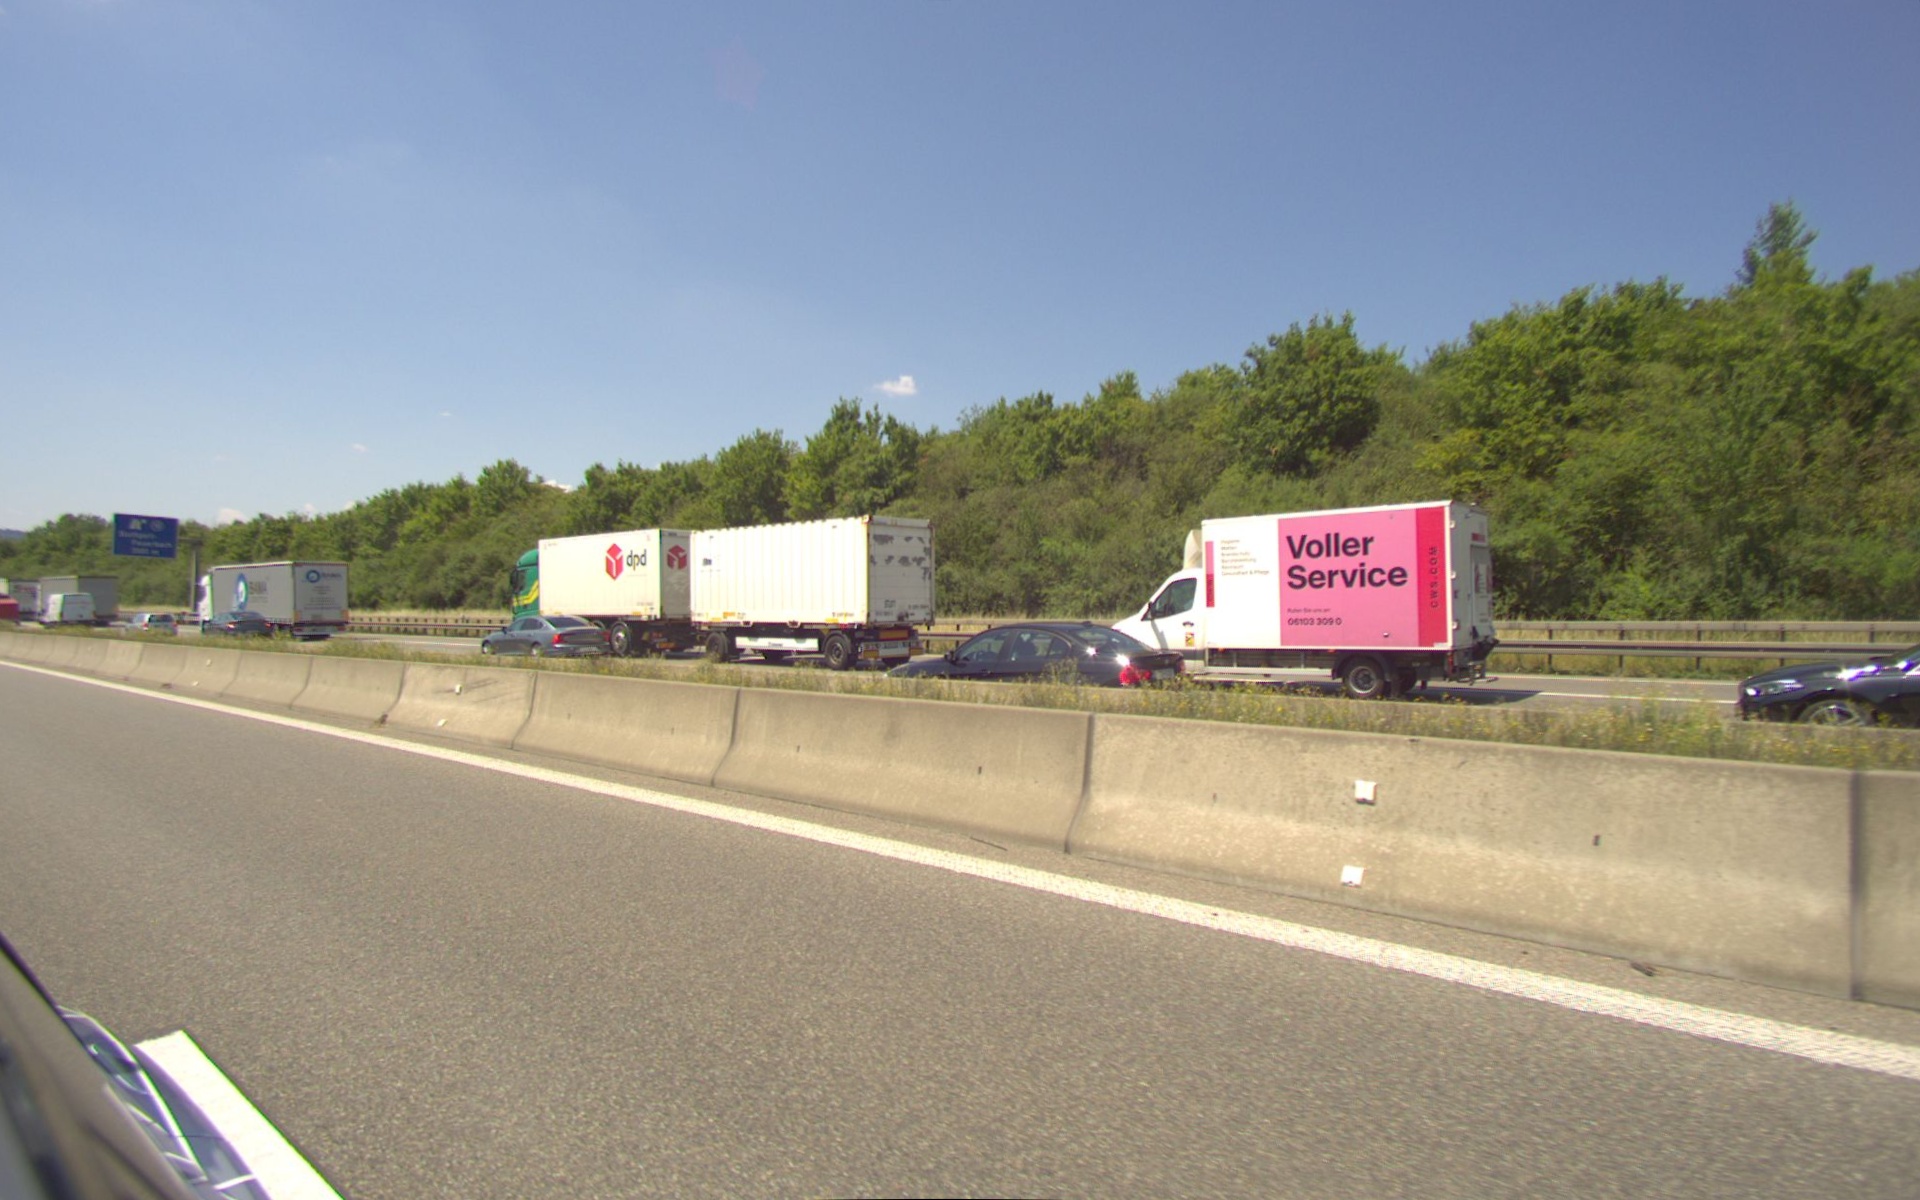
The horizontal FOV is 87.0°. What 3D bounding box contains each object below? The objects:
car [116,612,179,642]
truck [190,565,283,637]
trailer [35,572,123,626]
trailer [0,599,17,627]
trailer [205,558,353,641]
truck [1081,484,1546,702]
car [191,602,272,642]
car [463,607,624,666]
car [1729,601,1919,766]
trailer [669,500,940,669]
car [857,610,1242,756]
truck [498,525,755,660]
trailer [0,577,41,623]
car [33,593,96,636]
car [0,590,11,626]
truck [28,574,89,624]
[{"bbox_3d":[-45.283,1.473,56.374,4.853,1.471,1.735,1,1,39],"label":"car"},{"bbox_3d":[-42.977,0.072,60.061,6.596,4.067,2.825,0,-1,39],"label":"truck"},{"bbox_3d":[-73.723,-0.114,84.537,14.174,4.238,2.954,0,1,38],"label":"trailer"},{"bbox_3d":[-79.656,1.047,83.780,3.953,2.270,1.555,-1,-1,36],"label":"trailer"},{"bbox_3d":[-37.729,0.030,55.690,14.432,4.117,2.873,0,-1,40],"label":"trailer"},{"bbox_3d":[6.091,-0.059,18.411,7.583,3.232,2.513,-1,-1,40],"label":"truck"},{"bbox_3d":[-34.263,0.989,47.540,5.108,1.654,1.843,1,1,39],"label":"car"},{"bbox_3d":[-12.086,0.993,29.180,5.489,1.557,1.974,-1,-1,40],"label":"car"},{"bbox_3d":[10.420,0.783,9.685,4.770,1.539,1.973,-1,0,41],"label":"car"},{"bbox_3d":[-4.562,-0.304,28.312,8.225,4.103,2.890,-1,-2,41],"label":"trailer"},{"bbox_3d":[1.018,0.928,13.247,4.770,1.539,1.973,-1,0,41],"label":"car"},{"bbox_3d":[-11.613,-0.128,34.267,11.239,3.928,2.814,-1,-2,40],"label":"truck"},{"bbox_3d":[-95.029,0.010,100.798,13.846,4.310,2.785,0,0,37],"label":"trailer"},{"bbox_3d":[-62.090,0.945,70.127,6.617,2.807,2.119,1,1,38],"label":"car"},{"bbox_3d":[-83.785,0.676,86.811,6.537,3.037,2.217,-1,-1,36],"label":"car"},{"bbox_3d":[-79.105,-0.098,88.770,6.597,4.241,2.933,0,1,39],"label":"truck"}]
